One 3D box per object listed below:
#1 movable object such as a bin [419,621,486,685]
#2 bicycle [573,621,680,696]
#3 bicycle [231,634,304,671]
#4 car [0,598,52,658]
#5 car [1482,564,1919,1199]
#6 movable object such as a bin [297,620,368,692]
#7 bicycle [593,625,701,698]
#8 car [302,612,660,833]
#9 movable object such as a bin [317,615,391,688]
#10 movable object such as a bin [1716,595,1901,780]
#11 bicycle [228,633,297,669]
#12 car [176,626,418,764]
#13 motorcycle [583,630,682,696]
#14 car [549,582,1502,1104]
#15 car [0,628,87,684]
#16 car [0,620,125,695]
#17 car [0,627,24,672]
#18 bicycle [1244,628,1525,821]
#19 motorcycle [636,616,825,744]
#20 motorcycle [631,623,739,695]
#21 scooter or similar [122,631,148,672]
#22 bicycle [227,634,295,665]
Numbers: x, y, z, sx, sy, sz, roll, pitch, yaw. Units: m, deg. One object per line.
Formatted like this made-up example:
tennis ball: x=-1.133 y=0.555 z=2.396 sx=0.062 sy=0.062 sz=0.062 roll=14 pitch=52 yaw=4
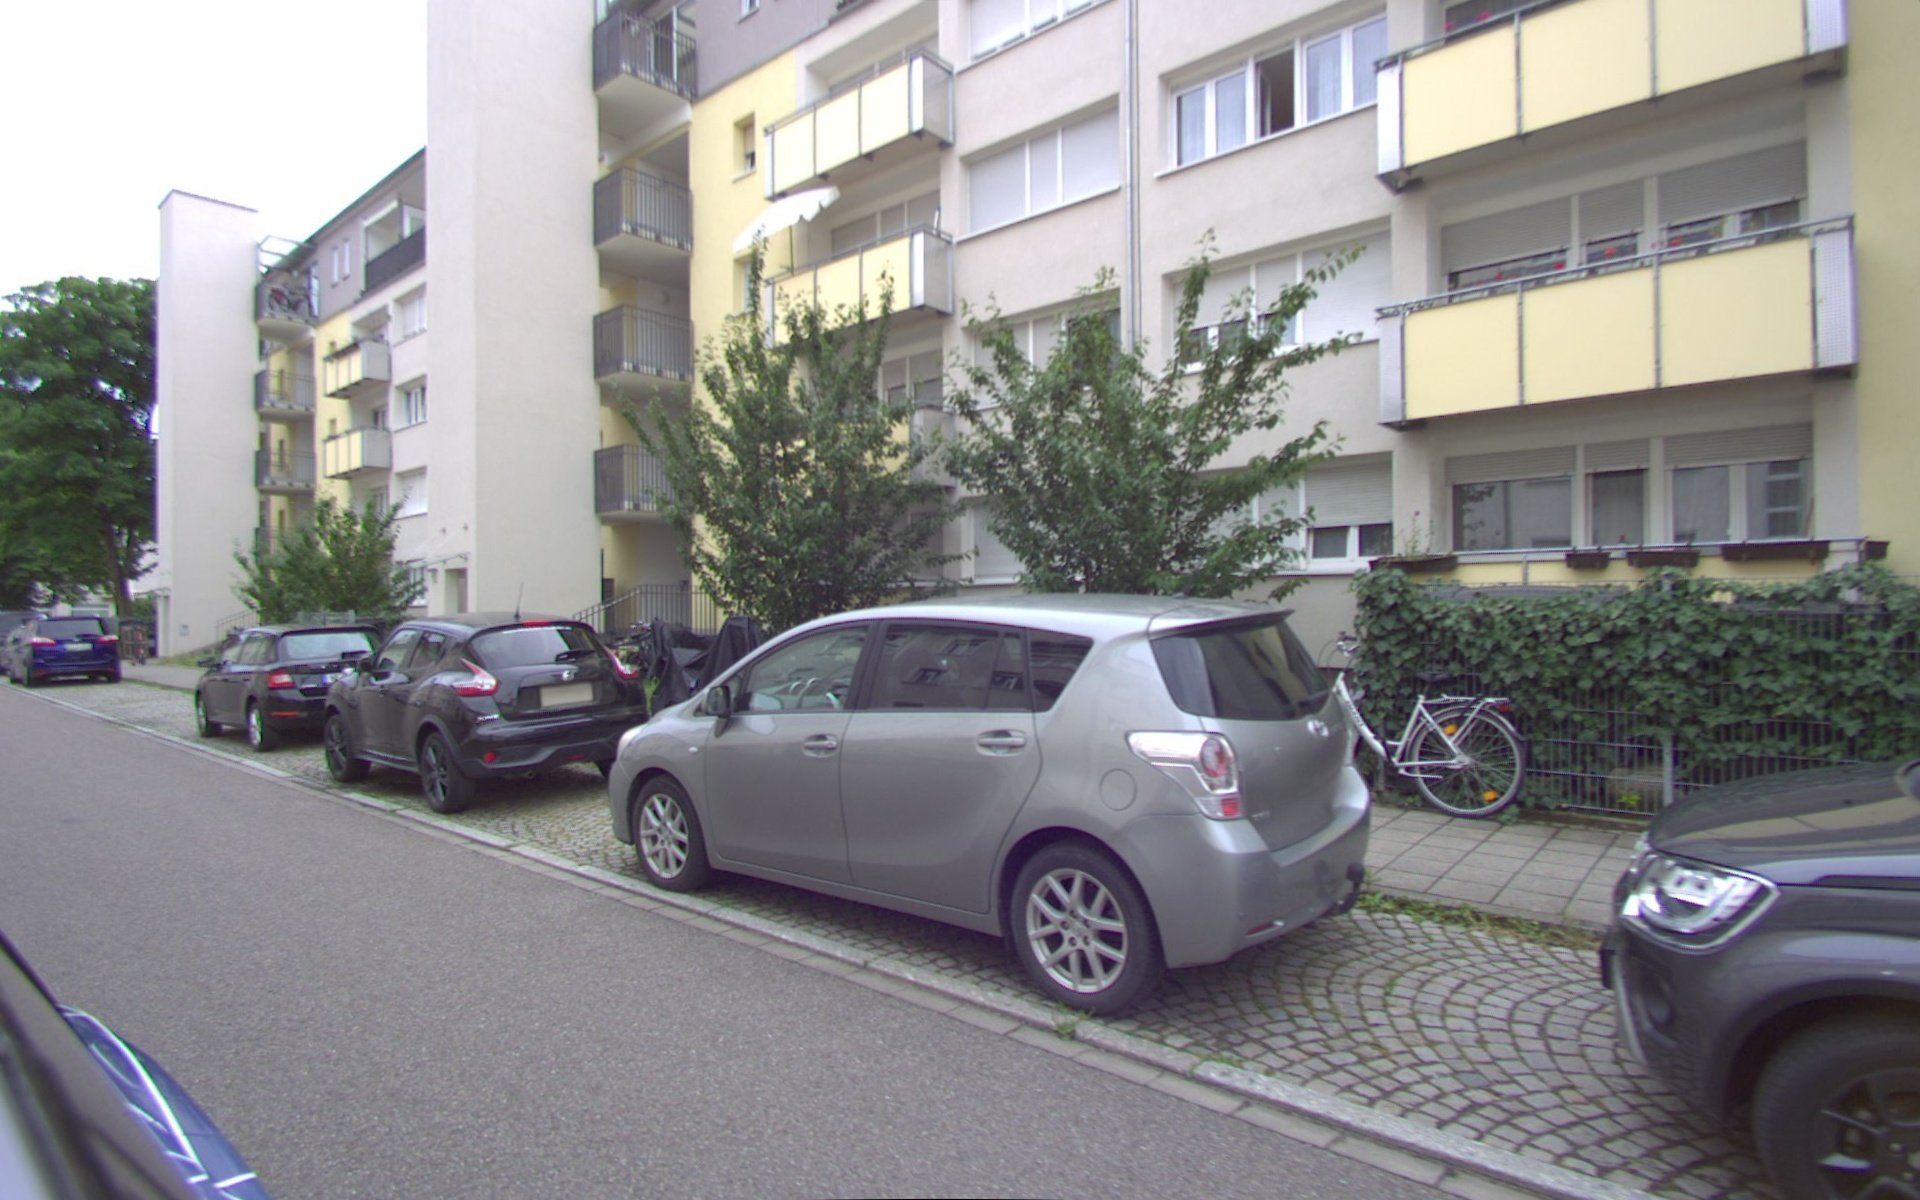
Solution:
movable object such as a bin: x=-12.063 y=1.233 z=24.065 sx=1.314 sy=1.458 sz=0.991 roll=-1 pitch=-1 yaw=42
bicycle: x=-5.710 y=0.978 z=17.405 sx=0.608 sy=1.234 sz=1.707 roll=-2 pitch=-2 yaw=36
bicycle: x=-22.476 y=1.702 z=32.858 sx=0.715 sy=1.146 sz=1.834 roll=-2 pitch=-2 yaw=38
car: x=-31.500 y=0.937 z=33.232 sx=4.782 sy=1.869 sz=1.867 roll=-2 pitch=-2 yaw=40
car: x=3.527 y=0.671 z=2.085 sx=4.052 sy=1.582 sz=1.703 roll=-2 pitch=0 yaw=41
movable object such as a bin: x=-13.842 y=1.206 z=22.334 sx=1.314 sy=1.512 sz=0.991 roll=-1 pitch=-1 yaw=42
bicycle: x=-5.226 y=1.004 z=16.986 sx=0.608 sy=1.151 sz=1.707 roll=-2 pitch=-2 yaw=36
car: x=-4.533 y=0.936 z=9.301 sx=3.895 sy=1.542 sz=1.635 roll=-2 pitch=1 yaw=43
movable object such as a bin: x=-12.791 y=1.071 z=21.360 sx=1.314 sy=1.458 sz=0.991 roll=-1 pitch=-1 yaw=42
movable object such as a bin: x=6.637 y=0.644 z=7.962 sx=1.036 sy=1.334 sz=0.883 roll=-2 pitch=-2 yaw=40
bicycle: x=-23.488 y=1.699 z=34.117 sx=1.829 sy=1.146 sz=0.717 roll=1 pitch=-2 yaw=-42
car: x=-8.657 y=1.106 z=13.098 sx=3.854 sy=1.449 sz=1.626 roll=-2 pitch=0 yaw=41
motorcycle: x=-5.912 y=1.110 z=18.327 sx=0.689 sy=1.138 sz=1.600 roll=-2 pitch=-2 yaw=37
car: x=-0.035 y=0.790 z=5.362 sx=4.856 sy=1.582 sz=1.817 roll=-2 pitch=0 yaw=39
car: x=-26.609 y=1.569 z=29.066 sx=3.813 sy=1.456 sz=1.606 roll=-2 pitch=0 yaw=38
car: x=-22.298 y=1.359 z=25.057 sx=4.469 sy=1.639 sz=1.781 roll=-2 pitch=0 yaw=41
car: x=-35.412 y=1.796 z=36.764 sx=3.610 sy=1.580 sz=1.604 roll=-2 pitch=-2 yaw=40
bicycle: x=2.915 y=0.800 z=7.042 sx=1.723 sy=1.201 sz=0.547 roll=-1 pitch=-2 yaw=34
motorcycle: x=-2.698 y=0.874 z=11.706 sx=2.419 sy=1.316 sz=0.860 roll=-2 pitch=0 yaw=41
motorcycle: x=-4.545 y=0.957 z=16.816 sx=0.593 sy=1.138 sz=1.732 roll=-2 pitch=-3 yaw=37
scooter or similar: x=-25.844 y=1.617 z=31.712 sx=1.135 sy=1.253 sz=0.432 roll=-2 pitch=-2 yaw=41
bicycle: x=-23.937 y=1.691 z=34.672 sx=1.829 sy=1.028 sz=0.671 roll=1 pitch=-2 yaw=-42
